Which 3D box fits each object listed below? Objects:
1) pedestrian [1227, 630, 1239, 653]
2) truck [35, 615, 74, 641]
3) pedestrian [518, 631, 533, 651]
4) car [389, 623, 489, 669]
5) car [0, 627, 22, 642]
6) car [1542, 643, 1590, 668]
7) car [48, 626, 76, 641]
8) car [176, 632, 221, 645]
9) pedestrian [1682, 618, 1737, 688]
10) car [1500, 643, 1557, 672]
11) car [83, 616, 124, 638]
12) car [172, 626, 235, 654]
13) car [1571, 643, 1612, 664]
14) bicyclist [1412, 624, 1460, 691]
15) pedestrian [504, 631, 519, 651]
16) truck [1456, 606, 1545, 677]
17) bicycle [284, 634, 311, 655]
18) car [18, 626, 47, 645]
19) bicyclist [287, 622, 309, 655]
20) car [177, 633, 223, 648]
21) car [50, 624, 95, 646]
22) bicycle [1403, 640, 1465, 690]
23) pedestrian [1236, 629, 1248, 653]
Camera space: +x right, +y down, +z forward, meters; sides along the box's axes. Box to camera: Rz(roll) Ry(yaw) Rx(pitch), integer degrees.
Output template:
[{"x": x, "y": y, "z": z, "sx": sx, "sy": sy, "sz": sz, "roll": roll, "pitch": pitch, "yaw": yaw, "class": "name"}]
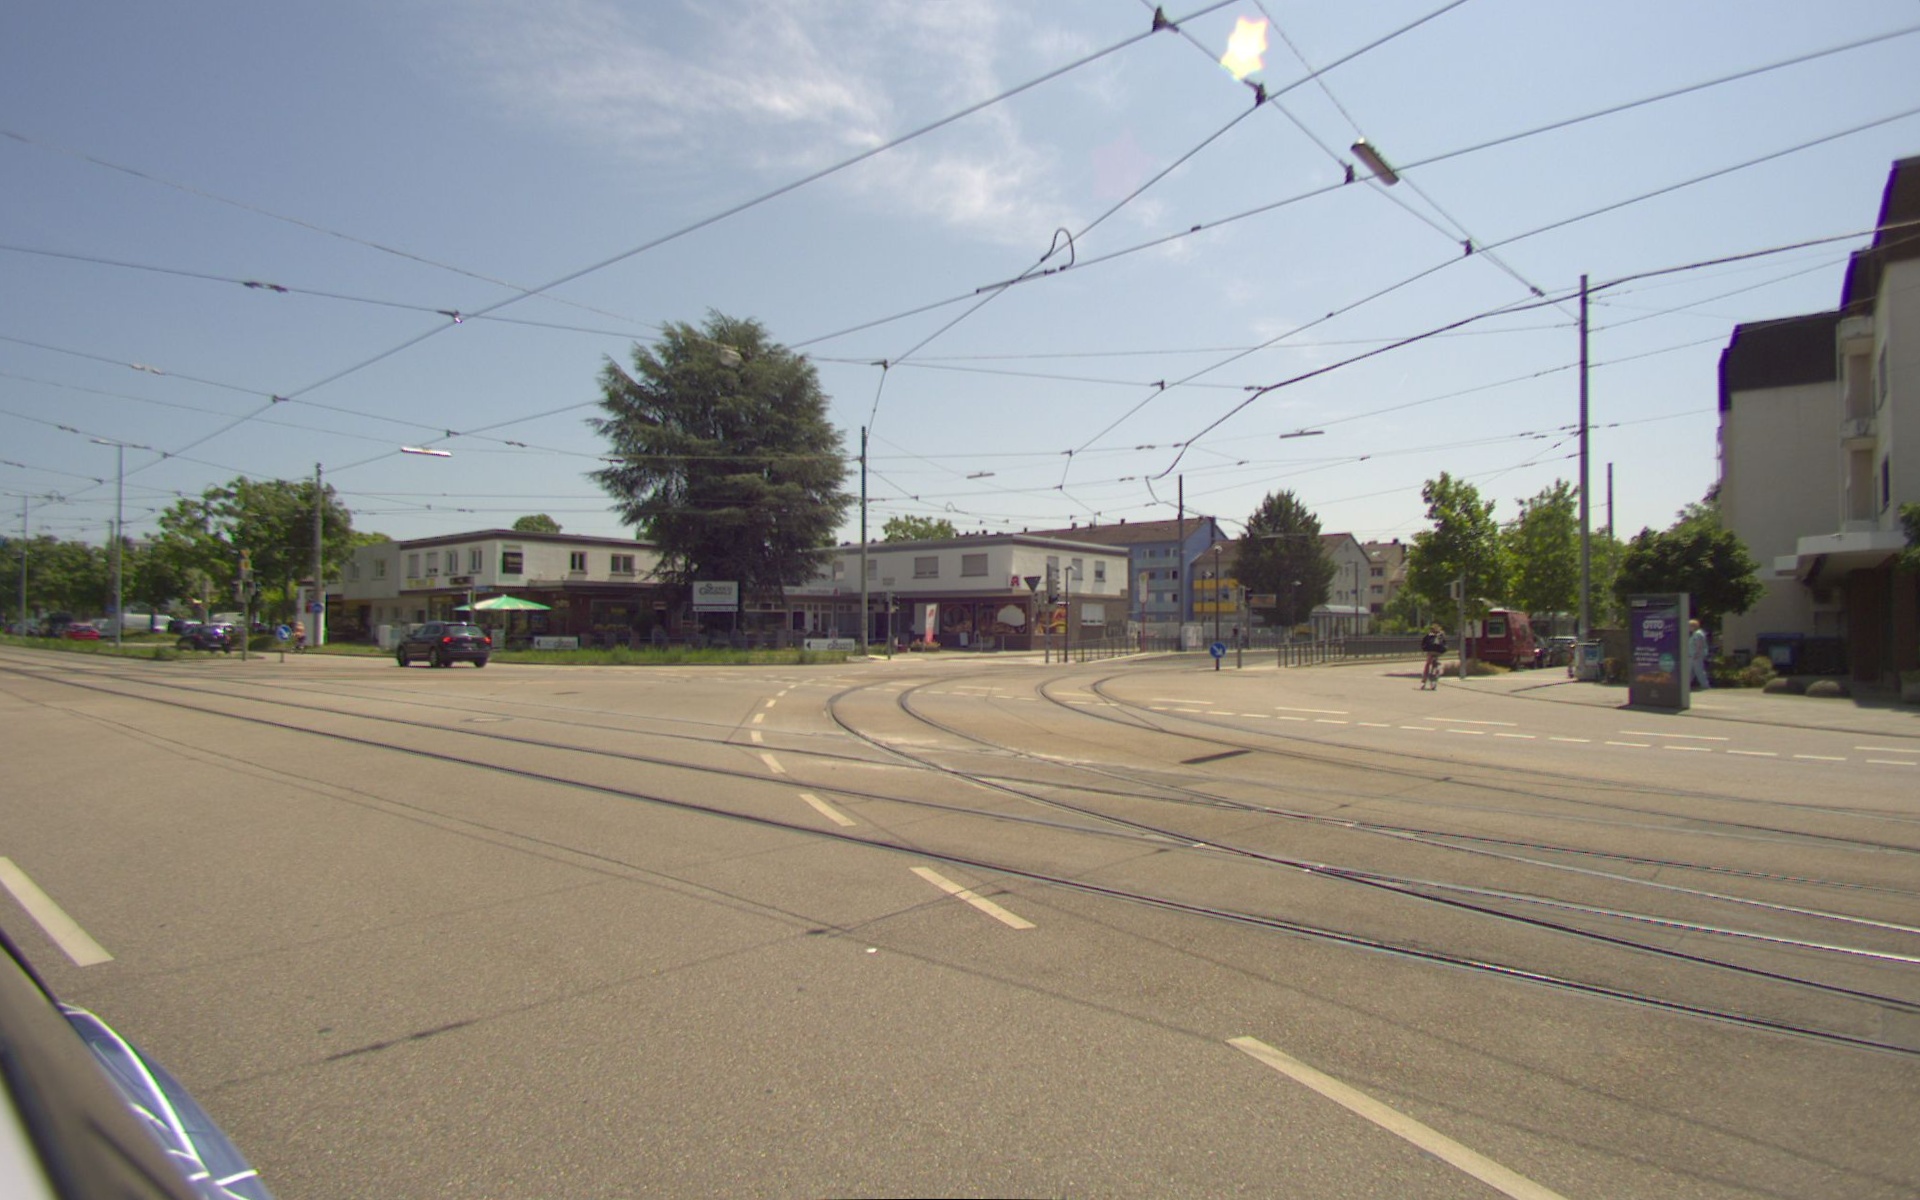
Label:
[{"x": 22.510, "y": 3.426, "z": 83.458, "sx": 0.679, "sy": 1.917, "sz": 0.640, "roll": -2, "pitch": -3, "yaw": 40, "class": "pedestrian"}, {"x": -91.135, "y": 2.791, "z": 101.824, "sx": 4.925, "sy": 2.561, "sz": 2.197, "roll": -1, "pitch": -3, "yaw": 41, "class": "truck"}, {"x": -24.498, "y": 2.326, "z": 57.040, "sx": 0.674, "sy": 1.136, "sz": 0.512, "roll": -2, "pitch": -3, "yaw": 40, "class": "pedestrian"}, {"x": -19.007, "y": 1.659, "z": 36.835, "sx": 4.493, "sy": 1.591, "sz": 1.774, "roll": -2, "pitch": -3, "yaw": 42, "class": "car"}, {"x": -114.459, "y": 4.162, "z": 121.837, "sx": 3.820, "sy": 1.716, "sz": 1.660, "roll": -1, "pitch": -3, "yaw": 39, "class": "car"}, {"x": 31.853, "y": 2.921, "z": 53.188, "sx": 1.589, "sy": 1.250, "sz": 3.532, "roll": -2, "pitch": -3, "yaw": 40, "class": "car"}, {"x": -86.870, "y": 3.233, "z": 97.878, "sx": 3.668, "sy": 1.397, "sz": 1.653, "roll": -2, "pitch": -3, "yaw": 42, "class": "car"}, {"x": -79.166, "y": 4.002, "z": 105.216, "sx": 1.599, "sy": 1.404, "sz": 3.375, "roll": -1, "pitch": -3, "yaw": 35, "class": "car"}, {"x": 18.529, "y": 1.309, "z": 25.020, "sx": 0.690, "sy": 1.709, "sz": 0.810, "roll": 1, "pitch": -2, "yaw": -13, "class": "pedestrian"}, {"x": 25.602, "y": 2.574, "z": 45.556, "sx": 1.589, "sy": 1.228, "sz": 3.532, "roll": -2, "pitch": -3, "yaw": 40, "class": "car"}, {"x": -74.115, "y": 2.348, "z": 87.543, "sx": 4.658, "sy": 1.898, "sz": 1.973, "roll": -1, "pitch": -3, "yaw": 40, "class": "car"}, {"x": -39.808, "y": 2.098, "z": 53.225, "sx": 3.860, "sy": 1.449, "sz": 1.693, "roll": -1, "pitch": -3, "yaw": 38, "class": "car"}, {"x": 38.591, "y": 3.241, "z": 61.842, "sx": 1.589, "sy": 1.250, "sz": 3.532, "roll": -2, "pitch": -3, "yaw": 40, "class": "car"}, {"x": 13.041, "y": 1.565, "z": 27.749, "sx": 0.724, "sy": 1.776, "sz": 1.135, "roll": 1, "pitch": -3, "yaw": -2, "class": "bicyclist"}, {"x": -25.671, "y": 2.342, "z": 57.960, "sx": 0.674, "sy": 1.136, "sz": 0.512, "roll": -2, "pitch": -3, "yaw": 40, "class": "pedestrian"}, {"x": 21.927, "y": 1.684, "z": 40.956, "sx": 2.185, "sy": 2.719, "sz": 4.975, "roll": -2, "pitch": -3, "yaw": 40, "class": "truck"}, {"x": -36.867, "y": 2.464, "z": 56.317, "sx": 1.929, "sy": 1.157, "sz": 0.687, "roll": -3, "pitch": -4, "yaw": 39, "class": "bicycle"}, {"x": -101.767, "y": 3.883, "z": 111.043, "sx": 4.505, "sy": 1.989, "sz": 1.660, "roll": -1, "pitch": -3, "yaw": 39, "class": "car"}, {"x": -36.840, "y": 2.139, "z": 56.317, "sx": 1.136, "sy": 1.779, "sz": 0.687, "roll": -3, "pitch": -4, "yaw": 39, "class": "bicyclist"}, {"x": -77.280, "y": 4.119, "z": 102.948, "sx": 1.599, "sy": 1.404, "sz": 3.375, "roll": -1, "pitch": -3, "yaw": 35, "class": "car"}, {"x": -64.196, "y": 2.530, "z": 73.184, "sx": 3.821, "sy": 1.495, "sz": 1.609, "roll": -1, "pitch": -3, "yaw": 36, "class": "car"}, {"x": 13.061, "y": 1.777, "z": 27.960, "sx": 0.669, "sy": 1.314, "sz": 2.105, "roll": 1, "pitch": -3, "yaw": -2, "class": "bicycle"}, {"x": 23.130, "y": 3.379, "z": 82.982, "sx": 0.679, "sy": 1.917, "sz": 0.640, "roll": -2, "pitch": -3, "yaw": 40, "class": "pedestrian"}]
